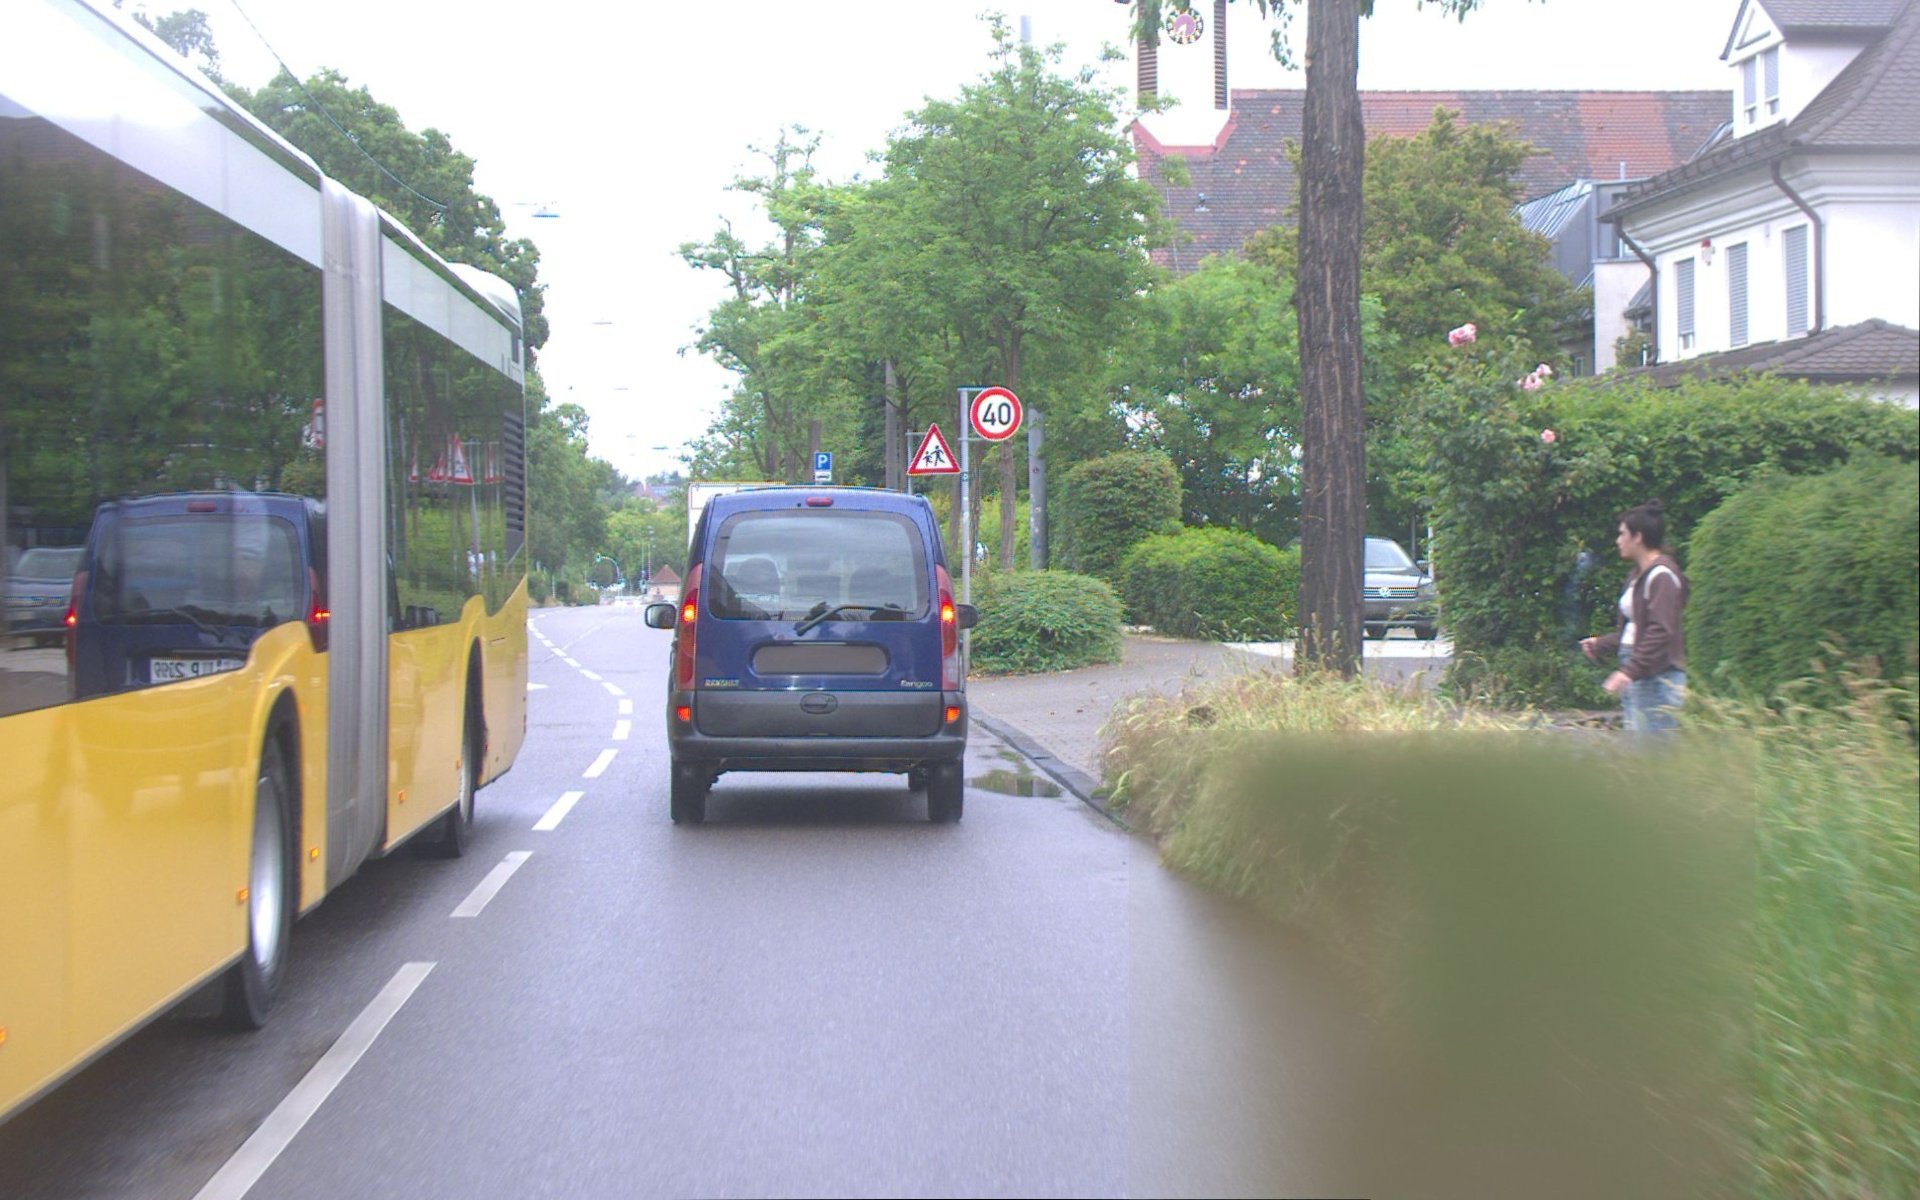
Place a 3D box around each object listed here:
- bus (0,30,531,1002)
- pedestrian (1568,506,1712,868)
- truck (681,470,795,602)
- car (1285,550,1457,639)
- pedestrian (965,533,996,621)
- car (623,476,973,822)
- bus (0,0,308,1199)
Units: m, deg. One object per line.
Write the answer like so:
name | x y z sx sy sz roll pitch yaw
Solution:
bus | -3.592 -0.333 15.434 2.594 3.147 8.637 0 1 -2
pedestrian | 2.916 0.365 14.765 0.481 1.529 0.439 0 1 -6
truck | -6.041 -1.713 92.794 2.731 3.375 6.687 -1 1 -6
car | 5.648 -0.103 47.690 1.831 1.172 4.000 1 1 -1
pedestrian | 0.406 -0.456 66.787 0.561 1.702 0.516 0 1 4
car | -0.957 0.228 20.046 1.808 1.791 4.001 -1 1 -3
bus | -3.247 -0.147 6.494 2.643 3.034 9.231 0 1 -2
